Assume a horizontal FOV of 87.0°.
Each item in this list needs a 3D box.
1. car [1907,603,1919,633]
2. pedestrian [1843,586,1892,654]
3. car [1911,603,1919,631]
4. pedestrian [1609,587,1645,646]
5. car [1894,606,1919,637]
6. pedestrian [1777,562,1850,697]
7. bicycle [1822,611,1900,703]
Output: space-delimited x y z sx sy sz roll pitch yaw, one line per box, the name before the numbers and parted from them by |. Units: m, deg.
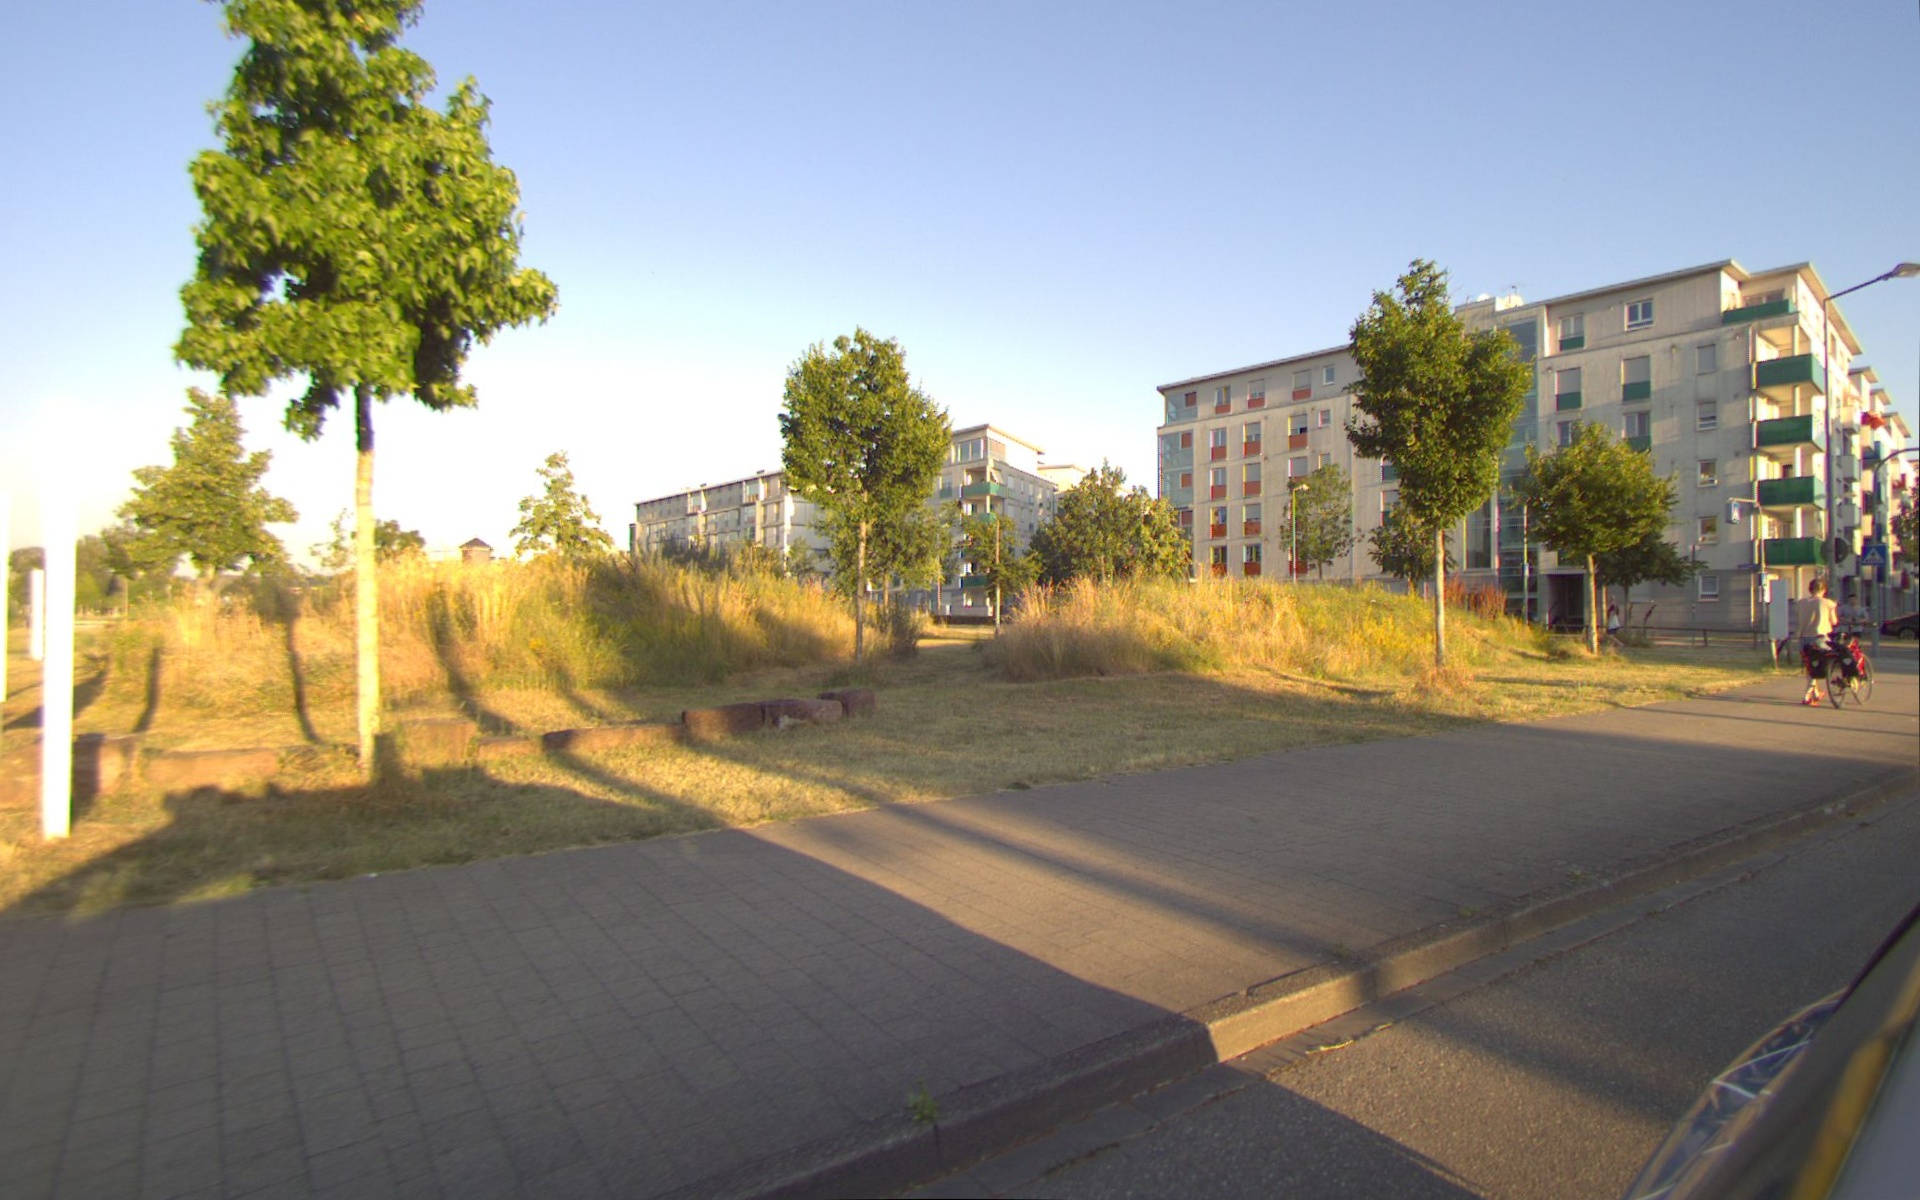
car | 51.328 1.026 51.446 1.711 1.527 4.413 2 1 -39
pedestrian | 23.759 0.527 26.497 0.753 1.752 0.802 2 -2 -35
car | 53.221 1.005 53.382 1.713 1.512 4.289 1 1 -43
pedestrian | 20.716 0.508 31.441 0.788 1.807 0.733 2 -2 -41
car | 49.206 1.153 49.549 1.903 1.476 4.886 2 1 -40
pedestrian | 11.942 0.411 14.165 0.802 1.825 0.596 2 -2 -37
bicycle | 12.300 0.757 13.792 1.905 1.184 0.451 2 -2 -38
